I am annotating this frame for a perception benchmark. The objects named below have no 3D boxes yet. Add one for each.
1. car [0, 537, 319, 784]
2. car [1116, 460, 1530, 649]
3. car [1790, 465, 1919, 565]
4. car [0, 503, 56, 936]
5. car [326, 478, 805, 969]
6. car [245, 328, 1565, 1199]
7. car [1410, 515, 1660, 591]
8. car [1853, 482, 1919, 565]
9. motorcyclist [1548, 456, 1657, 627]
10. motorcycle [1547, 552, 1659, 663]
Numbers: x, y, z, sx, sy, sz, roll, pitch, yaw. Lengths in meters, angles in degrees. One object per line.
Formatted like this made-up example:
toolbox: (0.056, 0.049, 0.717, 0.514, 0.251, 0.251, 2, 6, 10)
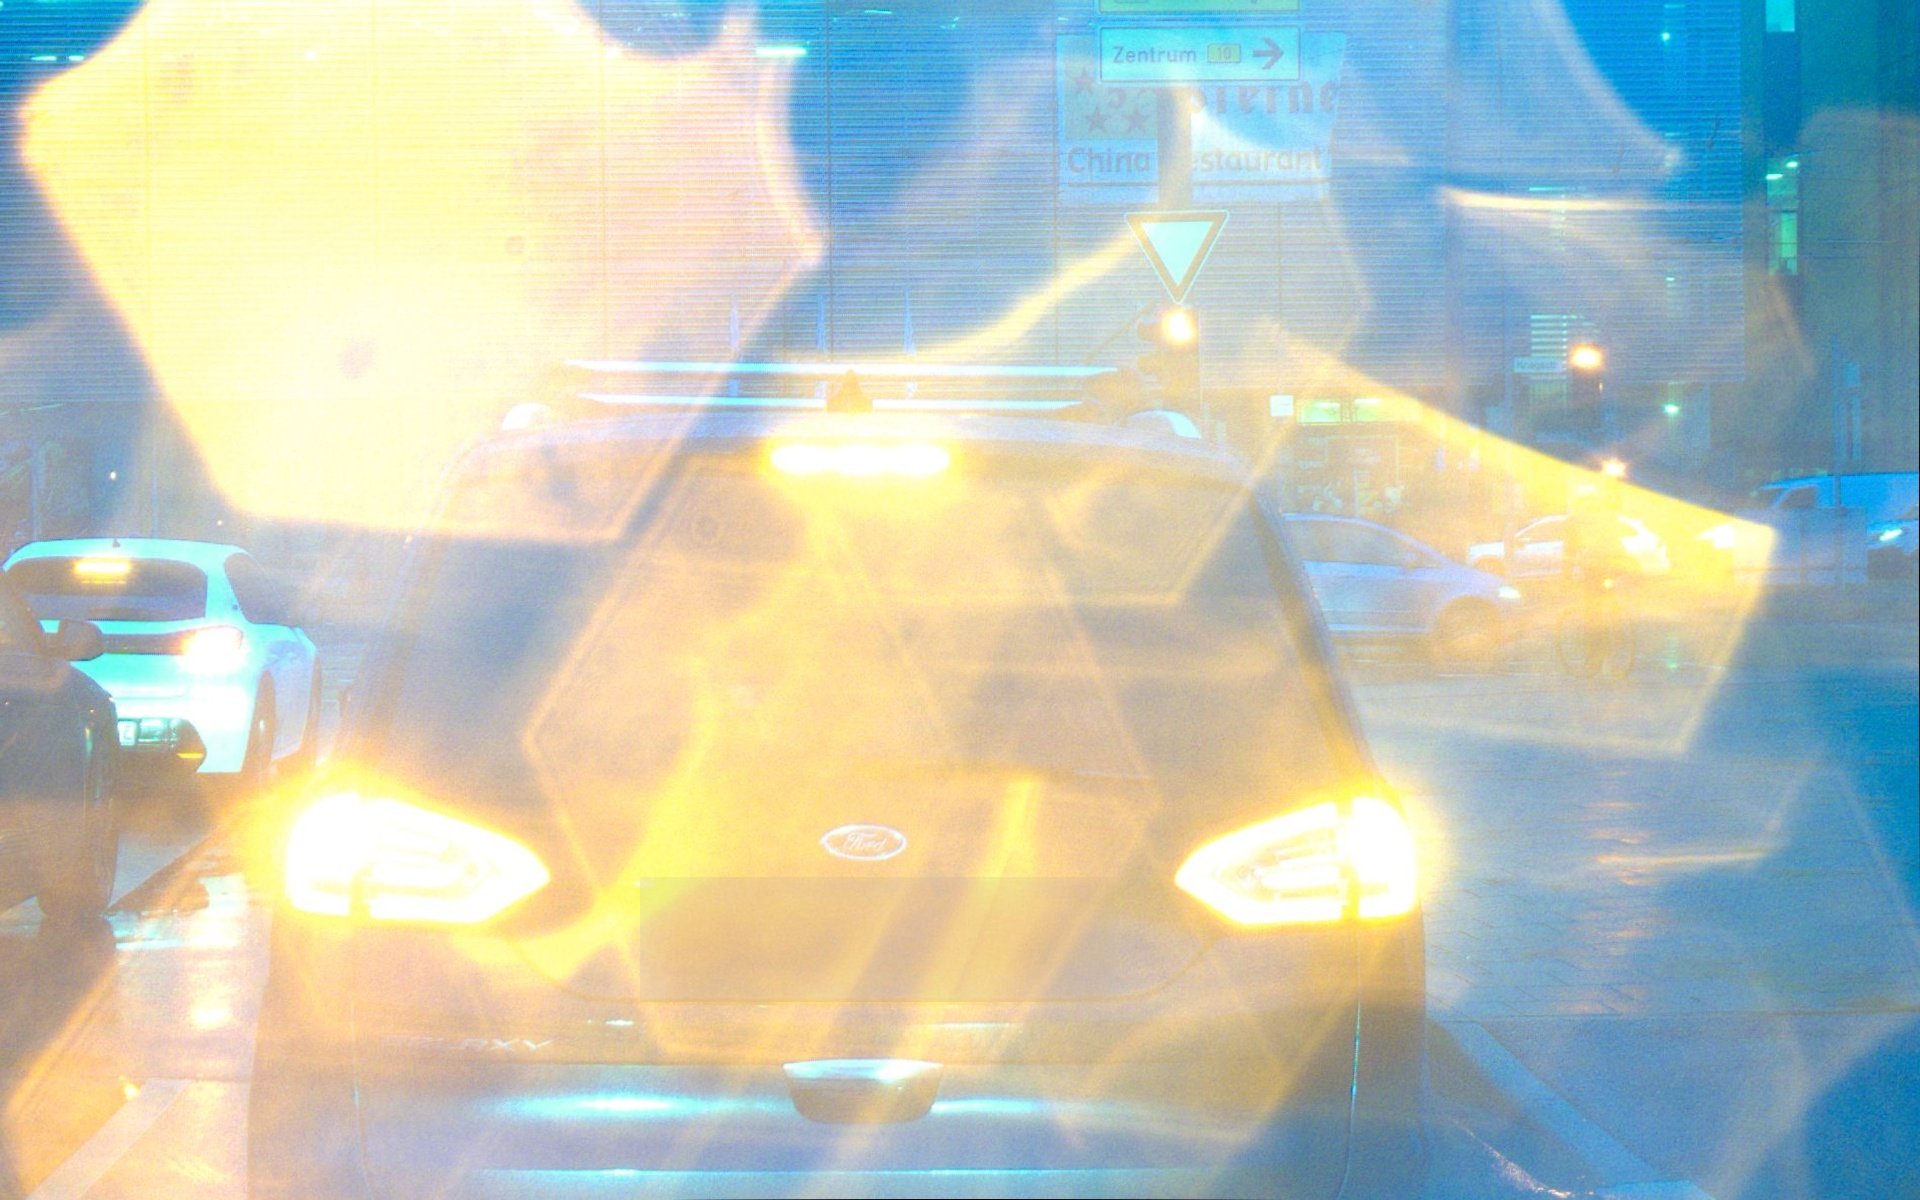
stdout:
car: (-4.523, 0.273, 19.551, 1.540, 1.247, 4.069, 0, 1, -8)
car: (3.877, -0.526, 37.078, 3.986, 1.868, 2.001, -2, 2, -11)
car: (19.683, -1.755, 70.463, 4.838, 1.993, 1.800, -1, 1, -7)
car: (-4.284, 0.457, 11.461, 1.752, 1.568, 4.001, -1, 1, -4)
car: (-1.521, 0.402, 13.735, 1.636, 1.691, 3.671, 0, 1, -5)
car: (-0.181, 0.481, 6.732, 1.735, 1.732, 4.247, 2, 1, -3)
car: (11.067, -0.915, 66.274, 4.418, 1.385, 1.800, -1, 1, -7)
car: (19.862, -1.513, 66.987, 4.418, 1.589, 1.800, -1, 1, -7)
motorcyclist: (5.865, -0.535, 31.412, 0.868, 1.529, 1.108, 0, 1, 5)
motorcycle: (5.872, 0.055, 31.471, 0.853, 0.968, 1.581, 0, 1, 5)
